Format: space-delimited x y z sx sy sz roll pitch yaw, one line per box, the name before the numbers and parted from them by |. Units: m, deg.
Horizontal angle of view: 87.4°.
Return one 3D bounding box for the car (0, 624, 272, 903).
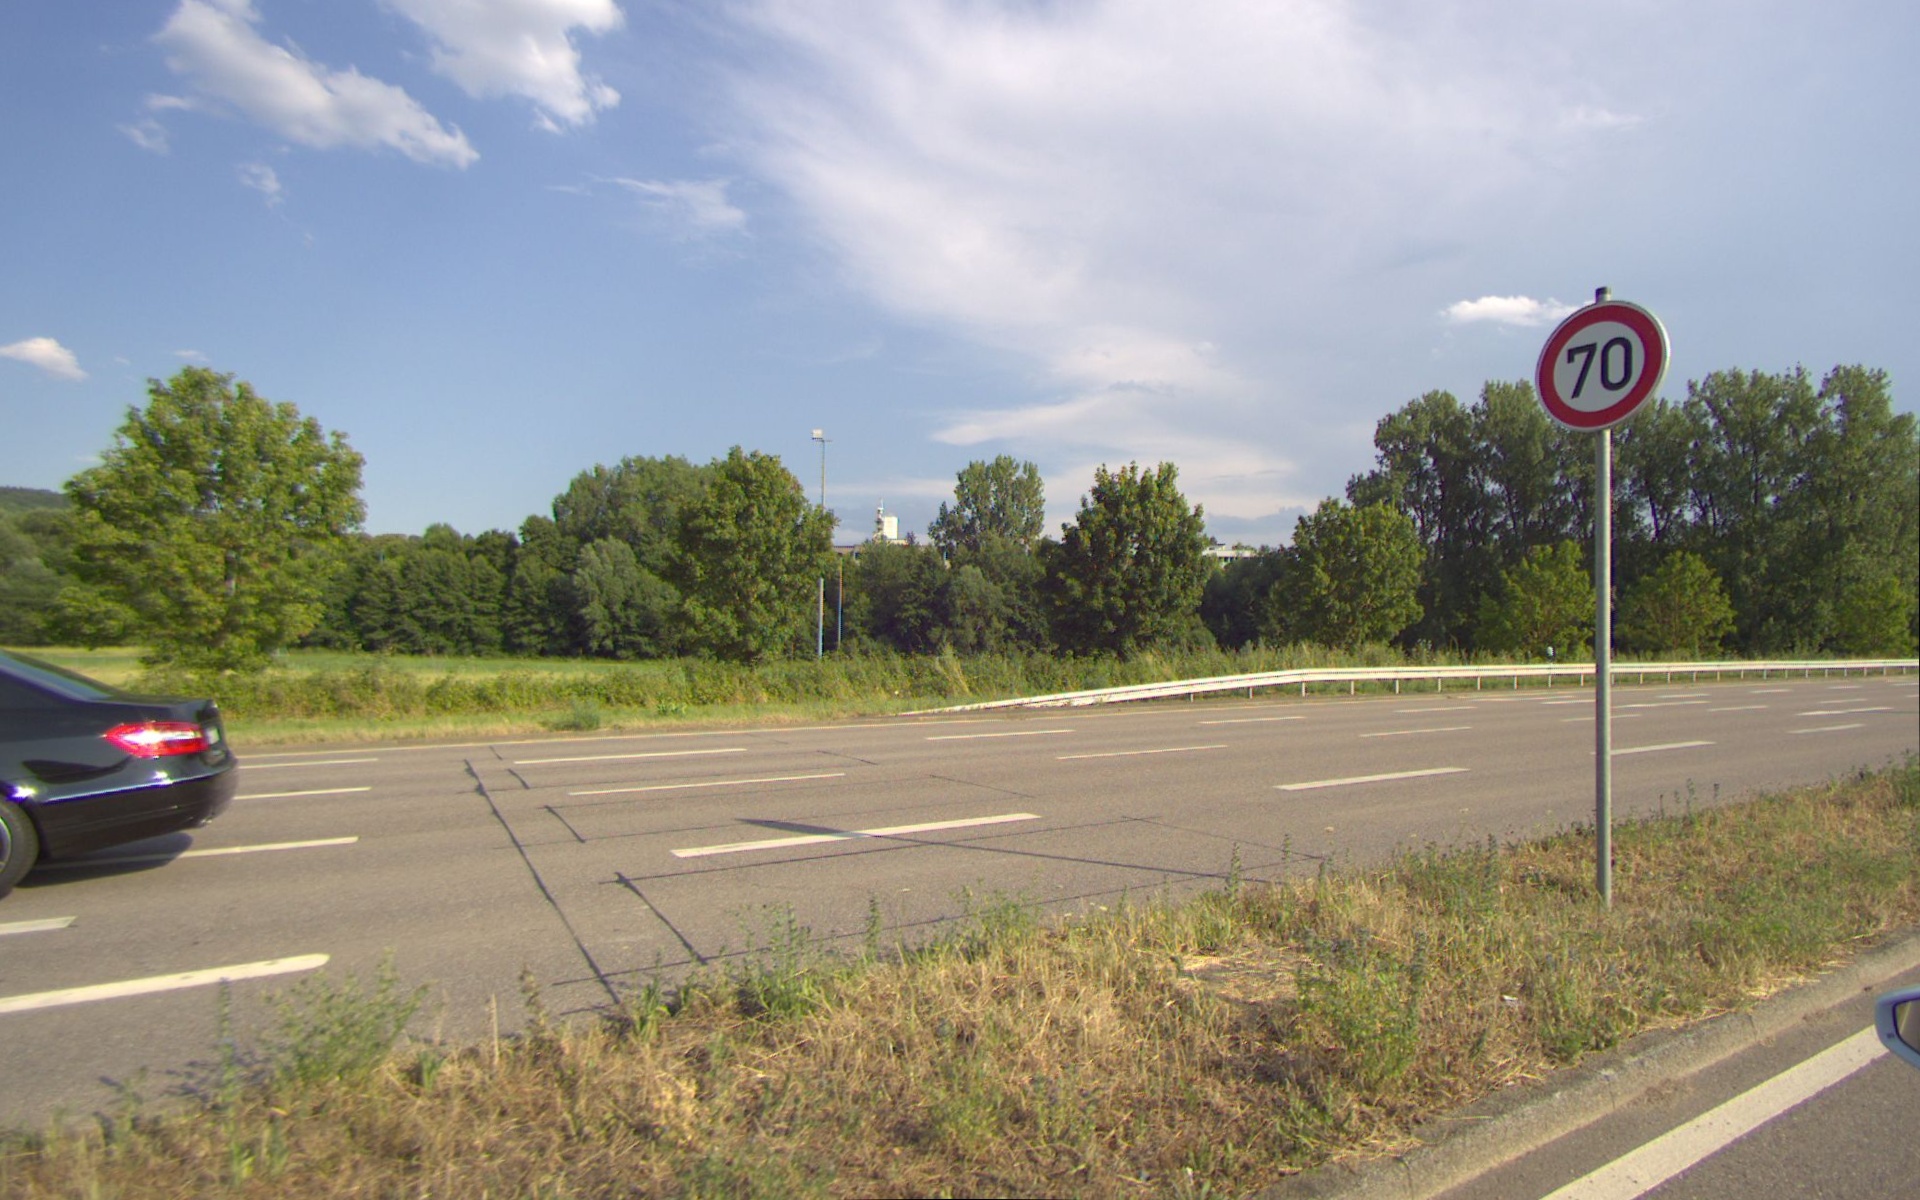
car | -6.648 0.885 5.437 4.672 1.483 1.707 1 -4 -31
